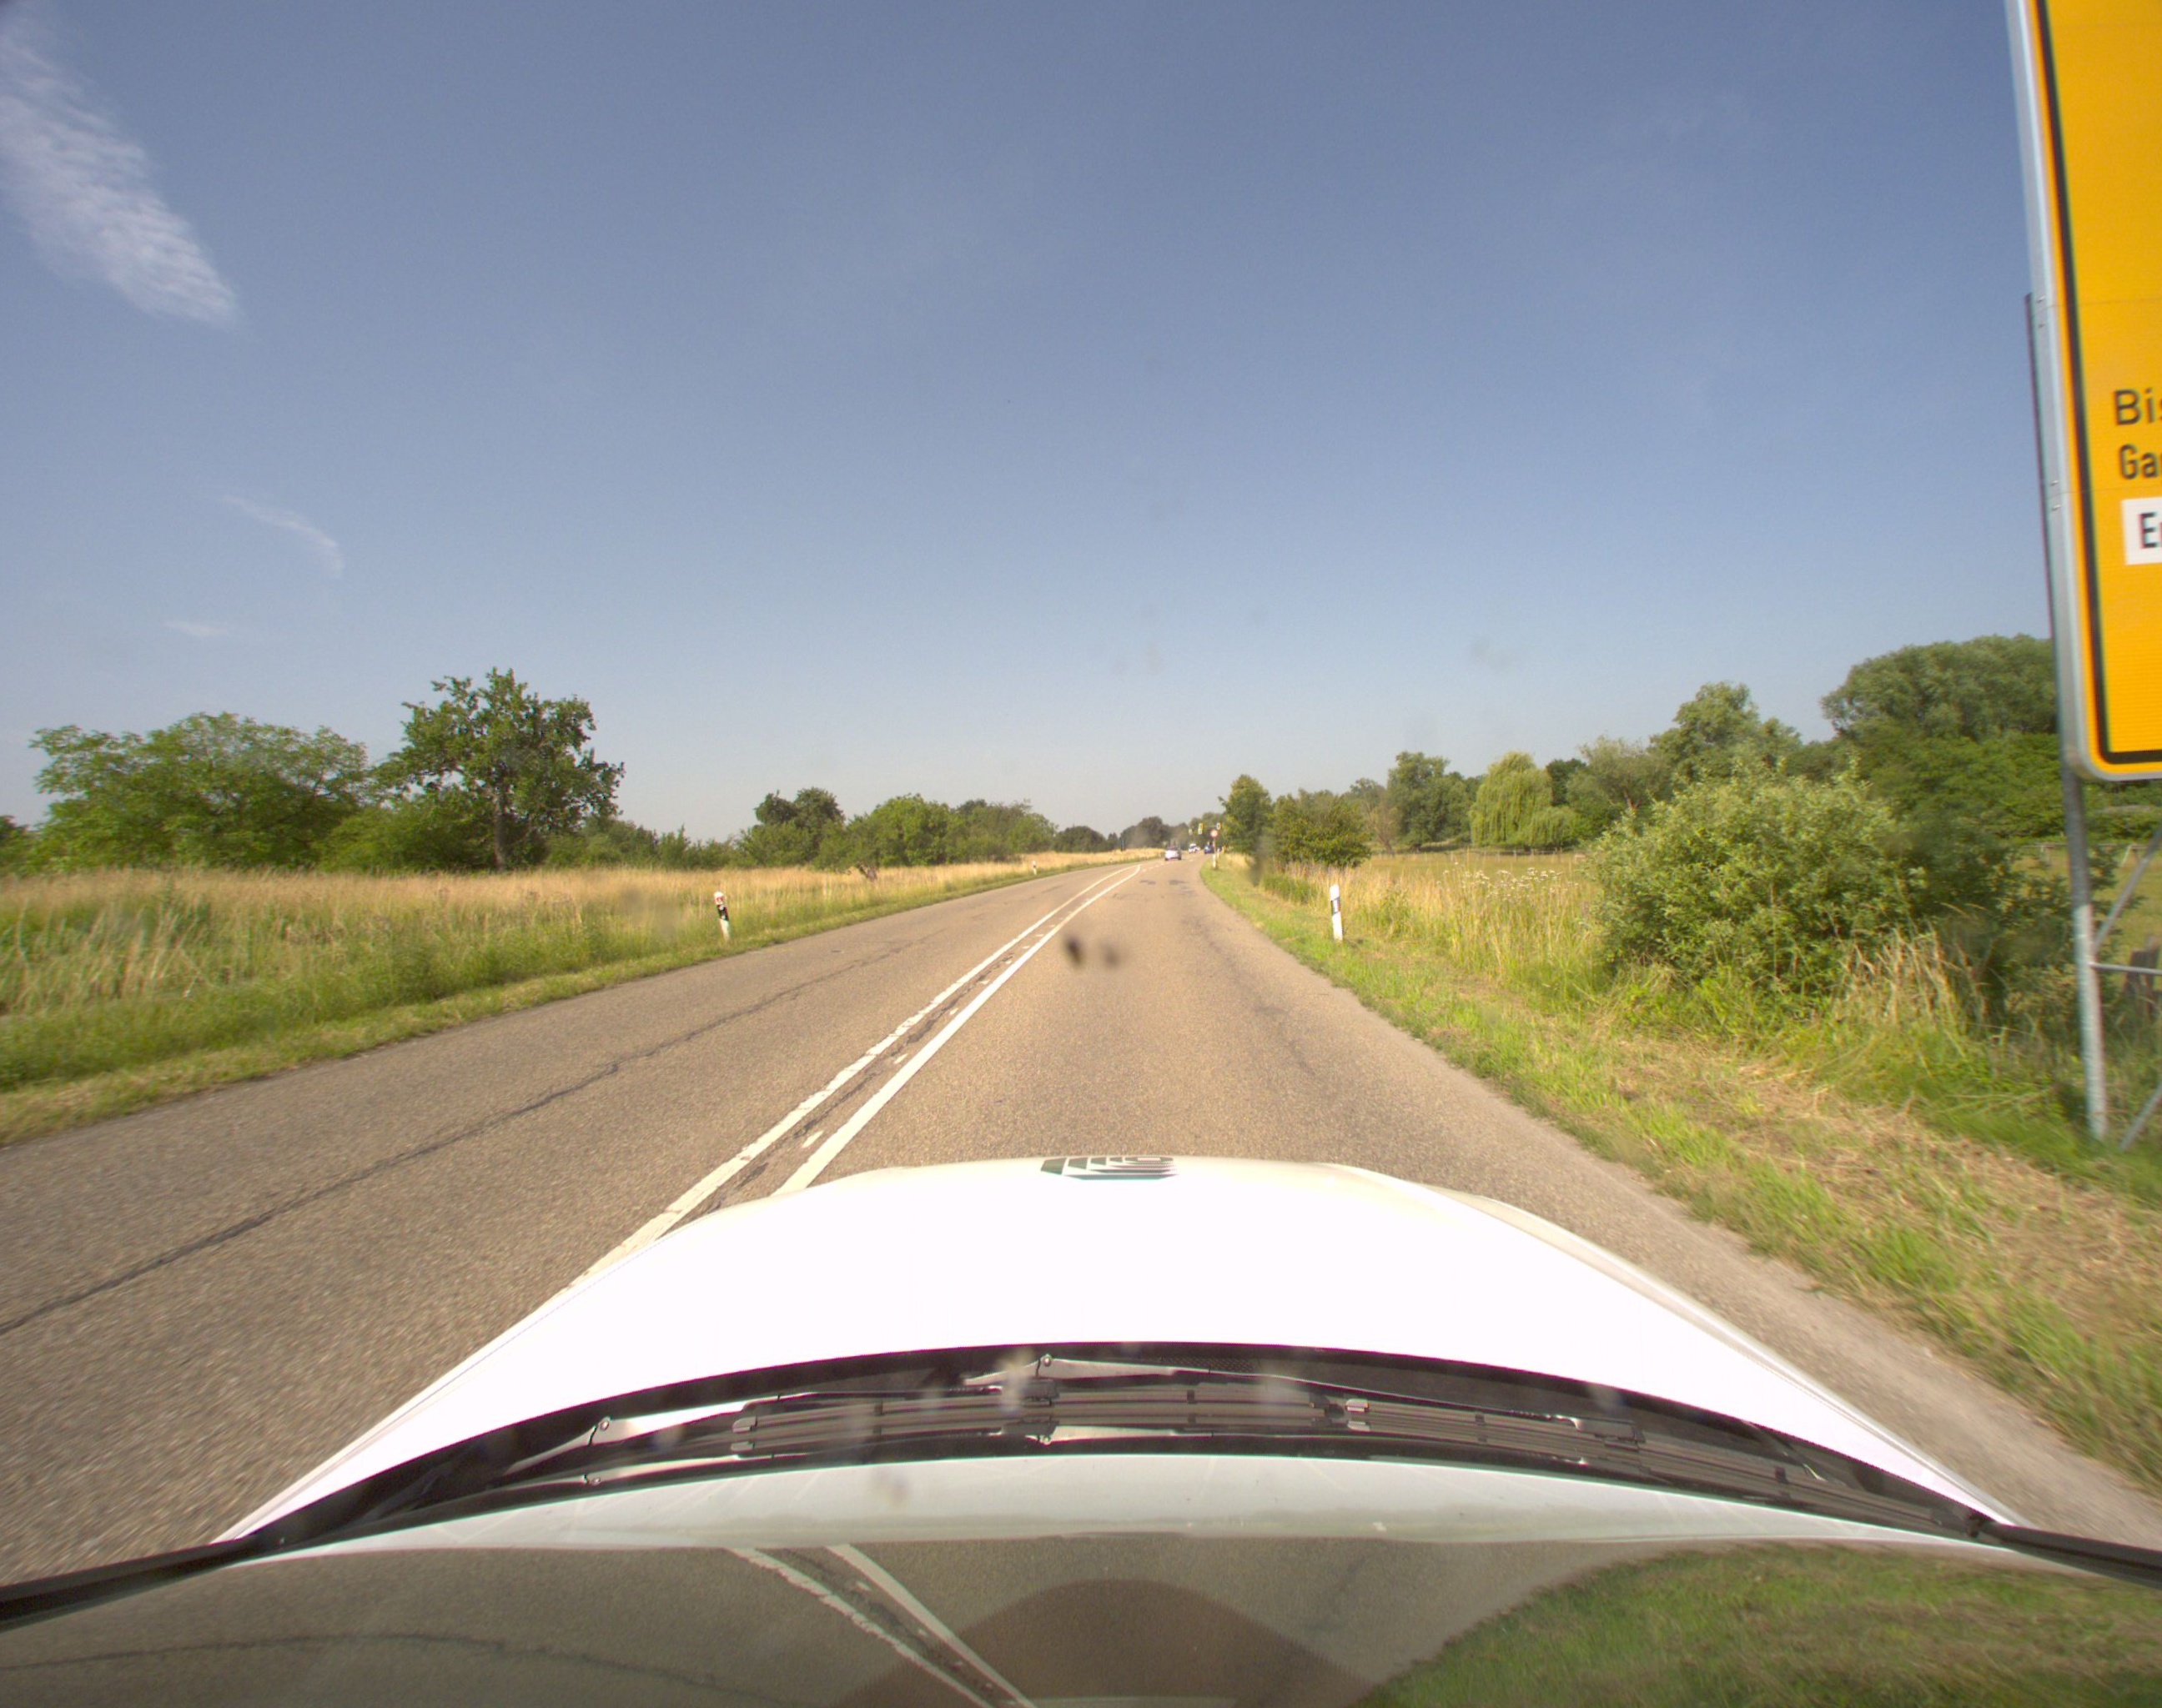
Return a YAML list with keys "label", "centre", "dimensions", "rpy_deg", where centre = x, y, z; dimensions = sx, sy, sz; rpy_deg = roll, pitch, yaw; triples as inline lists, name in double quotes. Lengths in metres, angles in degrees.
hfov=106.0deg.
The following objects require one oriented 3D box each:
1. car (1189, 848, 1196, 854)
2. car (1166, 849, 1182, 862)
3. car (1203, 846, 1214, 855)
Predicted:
- label: "car"
  centre: [32.486, -0.900, 236.898]
  dimensions: [1.823, 1.694, 3.871]
  rpy_deg: [-2, 0, 11]
- label: "car"
  centre: [11.171, 0.176, 97.958]
  dimensions: [1.890, 1.512, 4.006]
  rpy_deg: [0, 0, 5]
- label: "car"
  centre: [23.575, -0.641, 150.381]
  dimensions: [1.804, 1.520, 4.013]
  rpy_deg: [0, 0, 11]
